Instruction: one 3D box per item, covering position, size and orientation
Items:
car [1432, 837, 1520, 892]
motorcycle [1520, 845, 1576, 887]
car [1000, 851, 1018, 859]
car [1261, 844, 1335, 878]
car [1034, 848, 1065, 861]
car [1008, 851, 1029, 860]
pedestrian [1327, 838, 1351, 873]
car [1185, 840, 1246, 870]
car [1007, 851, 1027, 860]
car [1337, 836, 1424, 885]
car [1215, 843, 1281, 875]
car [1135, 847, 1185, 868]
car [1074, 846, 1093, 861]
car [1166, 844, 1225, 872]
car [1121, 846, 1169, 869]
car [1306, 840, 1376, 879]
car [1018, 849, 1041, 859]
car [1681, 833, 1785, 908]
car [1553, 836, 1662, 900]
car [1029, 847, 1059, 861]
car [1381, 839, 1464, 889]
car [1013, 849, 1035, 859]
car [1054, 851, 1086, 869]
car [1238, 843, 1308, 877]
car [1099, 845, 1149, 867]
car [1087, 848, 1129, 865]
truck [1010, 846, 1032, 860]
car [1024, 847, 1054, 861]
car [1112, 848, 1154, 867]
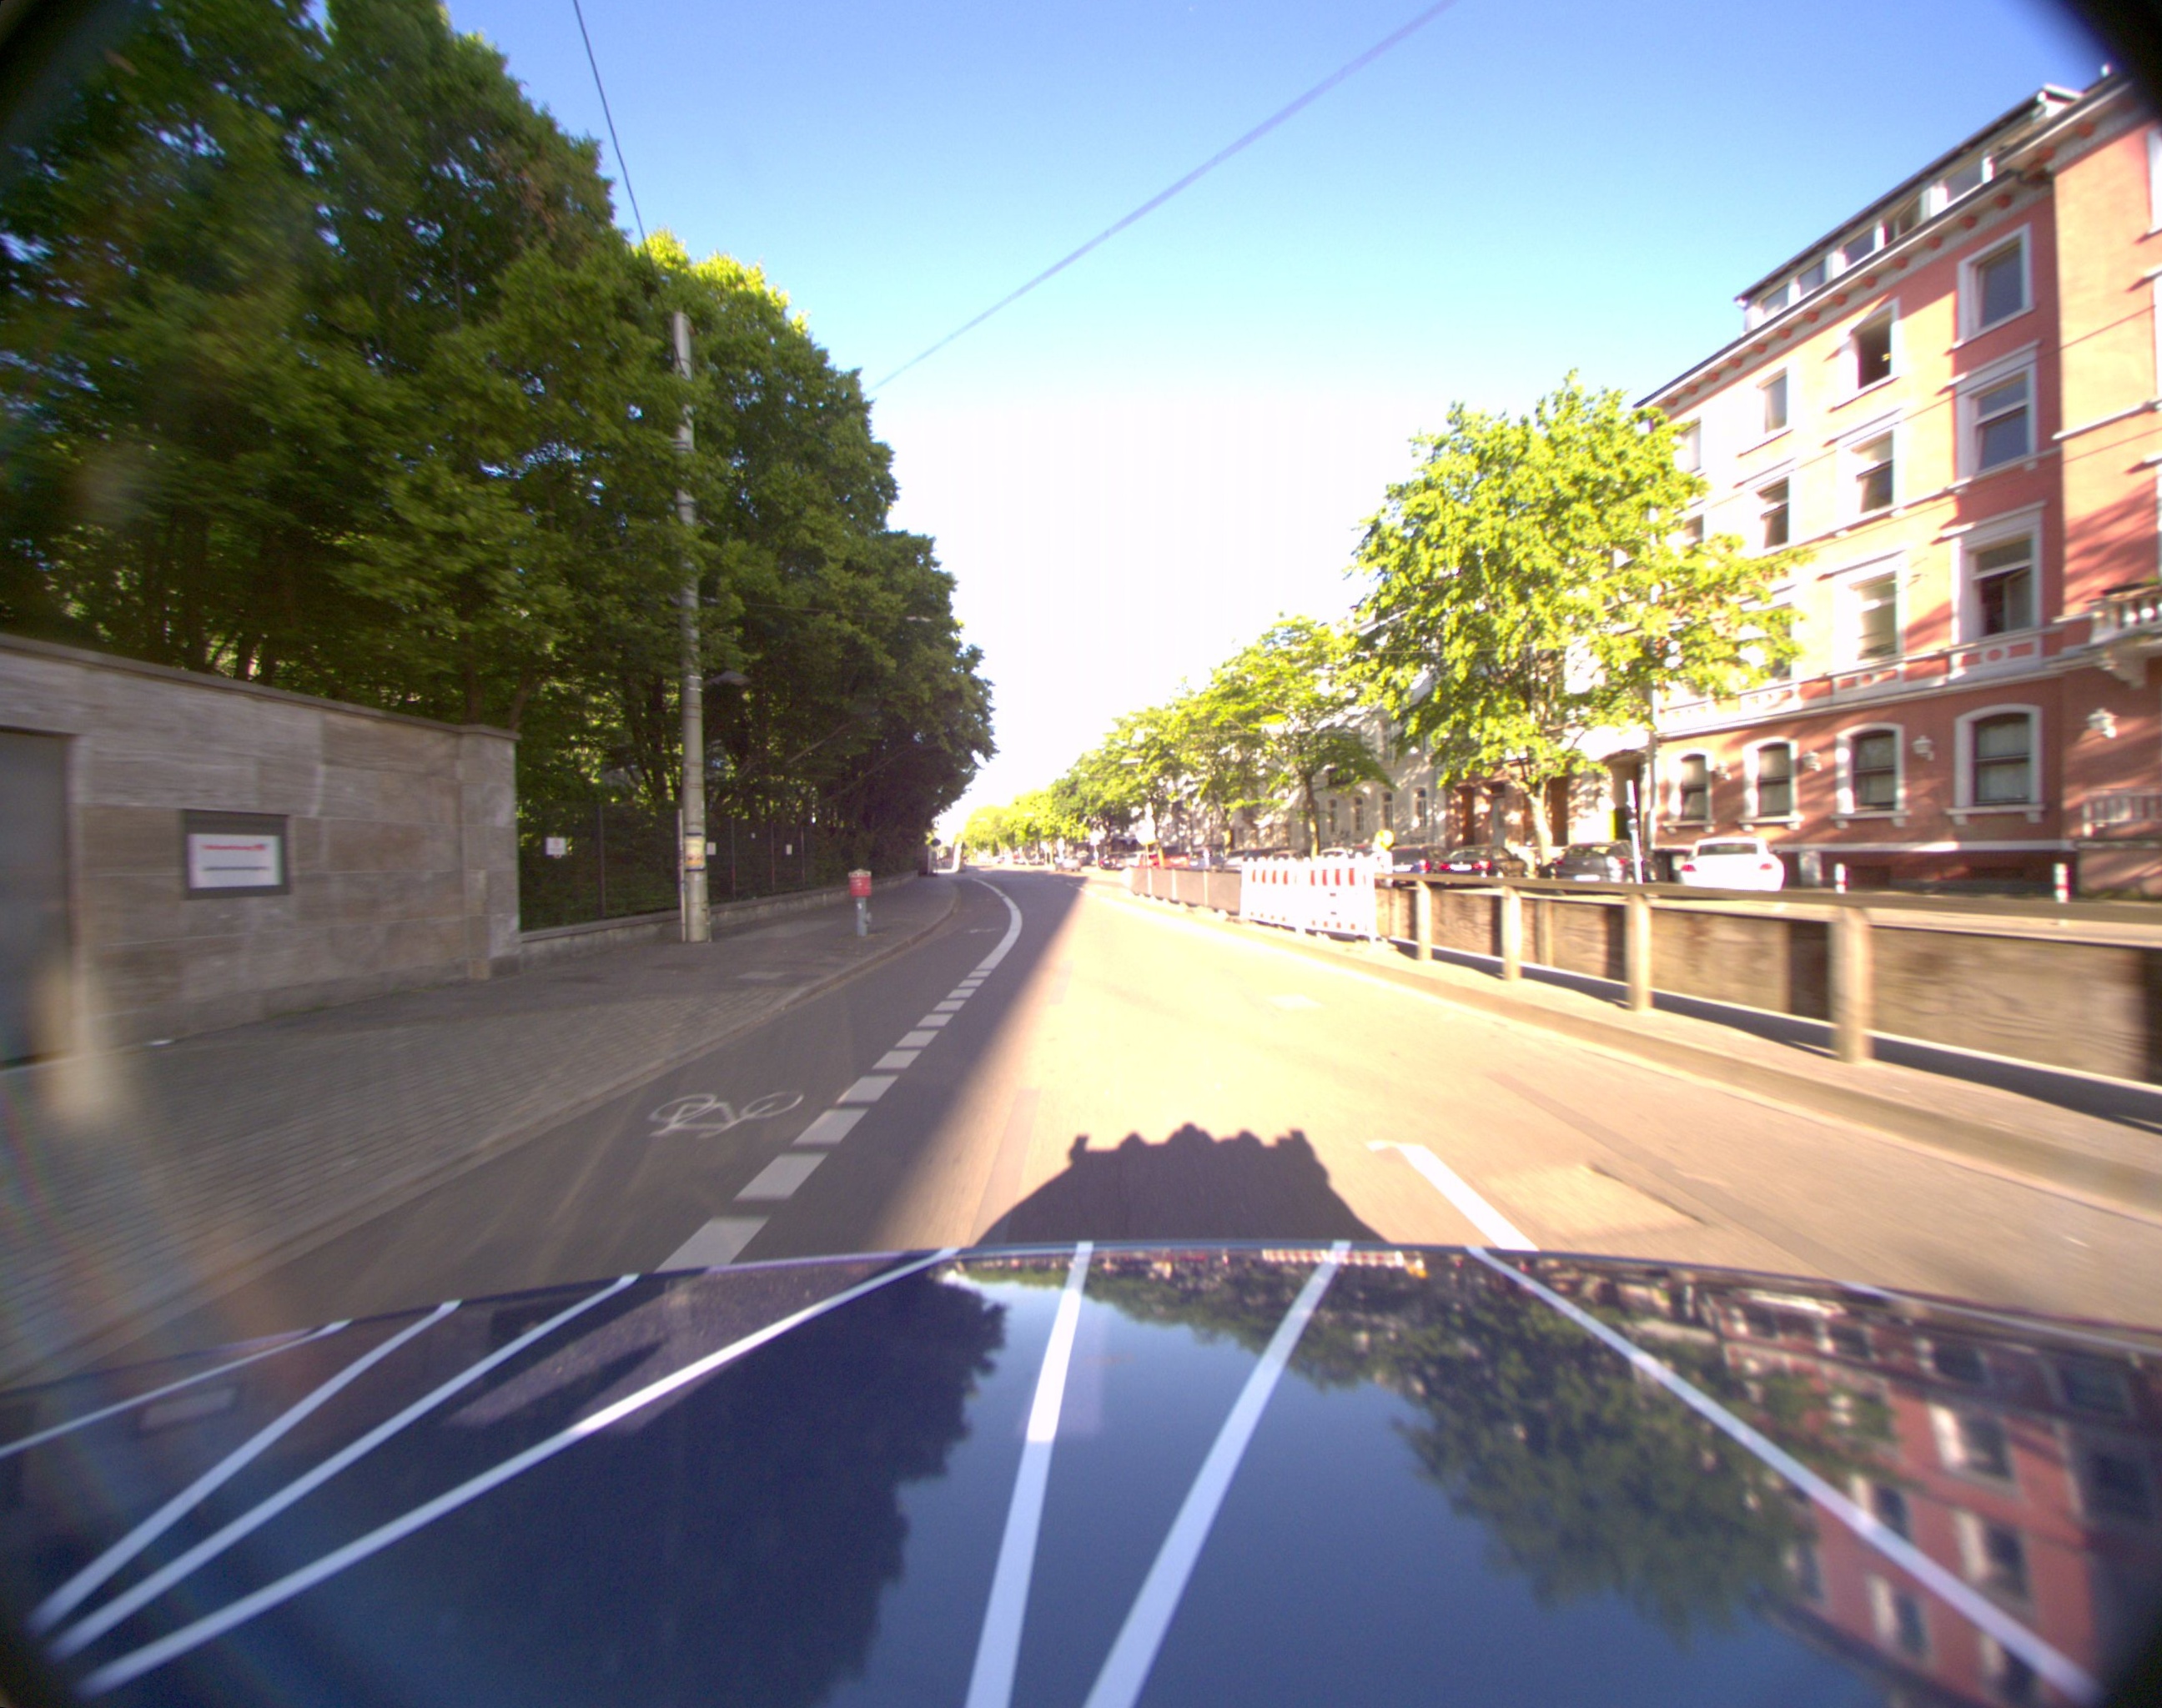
[{"bbox_3d":[13.760,0.331,26.368,1.630,1.607,3.993,-2,2,44],"label":"car"},{"bbox_3d":[15.546,0.368,25.342,0.680,1.272,1.927,-2,2,0],"label":"motorcycle"},{"bbox_3d":[-16.032,0.162,169.198,3.775,1.584,1.670,-4,1,-17],"label":"car"},{"bbox_3d":[11.208,0.348,39.135,3.828,1.477,1.766,-4,2,-40],"label":"car"},{"bbox_3d":[-4.693,0.041,113.265,4.104,1.561,1.670,-4,1,-17],"label":"car"},{"bbox_3d":[-12.258,0.235,149.705,3.775,1.584,1.670,-4,1,-17],"label":"car"},{"bbox_3d":[12.953,0.063,38.141,0.767,1.745,0.806,-1,1,-22],"label":"pedestrian"},{"bbox_3d":[9.184,0.047,51.683,4.208,1.788,1.781,-5,3,-40],"label":"car"},{"bbox_3d":[-12.850,0.279,152.680,3.775,1.584,1.670,-4,1,-17],"label":"car"},{"bbox_3d":[12.846,0.248,32.486,4.293,1.713,1.703,-6,3,-43],"label":"car"},{"bbox_3d":[9.906,0.294,44.906,3.877,1.645,1.768,-4,2,-40],"label":"car"},{"bbox_3d":[6.701,0.303,64.154,4.208,1.549,1.636,-4,2,-40],"label":"car"},{"bbox_3d":[0.292,-0.035,97.068,1.673,1.886,3.211,-1,0,-12],"label":"car"},{"bbox_3d":[8.222,0.272,54.397,4.208,1.627,1.738,-5,1,-40],"label":"car"},{"bbox_3d":[5.637,0.299,66.913,4.208,1.714,1.780,-5,2,-44],"label":"car"},{"bbox_3d":[12.296,0.256,35.861,3.286,1.524,1.703,-6,2,-43],"label":"car"},{"bbox_3d":[-9.356,-0.049,138.603,3.775,1.584,1.670,-4,1,-17],"label":"car"},{"bbox_3d":[15.993,0.356,18.622,1.731,1.513,3.923,-3,1,42],"label":"car"},{"bbox_3d":[15.067,0.359,21.674,3.929,1.499,1.685,-5,1,-43],"label":"car"},{"bbox_3d":[-5.677,-0.031,116.592,4.311,1.940,1.670,-4,1,-17],"label":"car"},{"bbox_3d":[13.124,0.347,29.091,1.630,1.607,3.993,-2,2,44],"label":"car"},{"bbox_3d":[-10.667,-0.004,142.319,3.775,1.584,1.670,-4,1,-17],"label":"car"},{"bbox_3d":[-1.051,0.566,69.633,1.878,1.591,4.421,-1,0,-15],"label":"car"},{"bbox_3d":[10.617,0.291,41.903,3.877,1.645,1.768,-4,2,-40],"label":"car"},{"bbox_3d":[4.128,0.176,72.143,4.366,1.704,1.944,-4,2,-35],"label":"car"},{"bbox_3d":[2.673,0.229,75.194,4.007,1.478,1.777,-4,2,-43],"label":"car"},{"bbox_3d":[-11.515,-0.270,145.891,3.774,2.410,1.671,-4,1,-12],"label":"truck"},{"bbox_3d":[-6.548,-0.056,119.500,4.311,1.940,1.670,-4,1,-17],"label":"car"},{"bbox_3d":[4.809,0.323,69.634,3.772,1.511,1.744,-5,3,-45],"label":"car"}]
